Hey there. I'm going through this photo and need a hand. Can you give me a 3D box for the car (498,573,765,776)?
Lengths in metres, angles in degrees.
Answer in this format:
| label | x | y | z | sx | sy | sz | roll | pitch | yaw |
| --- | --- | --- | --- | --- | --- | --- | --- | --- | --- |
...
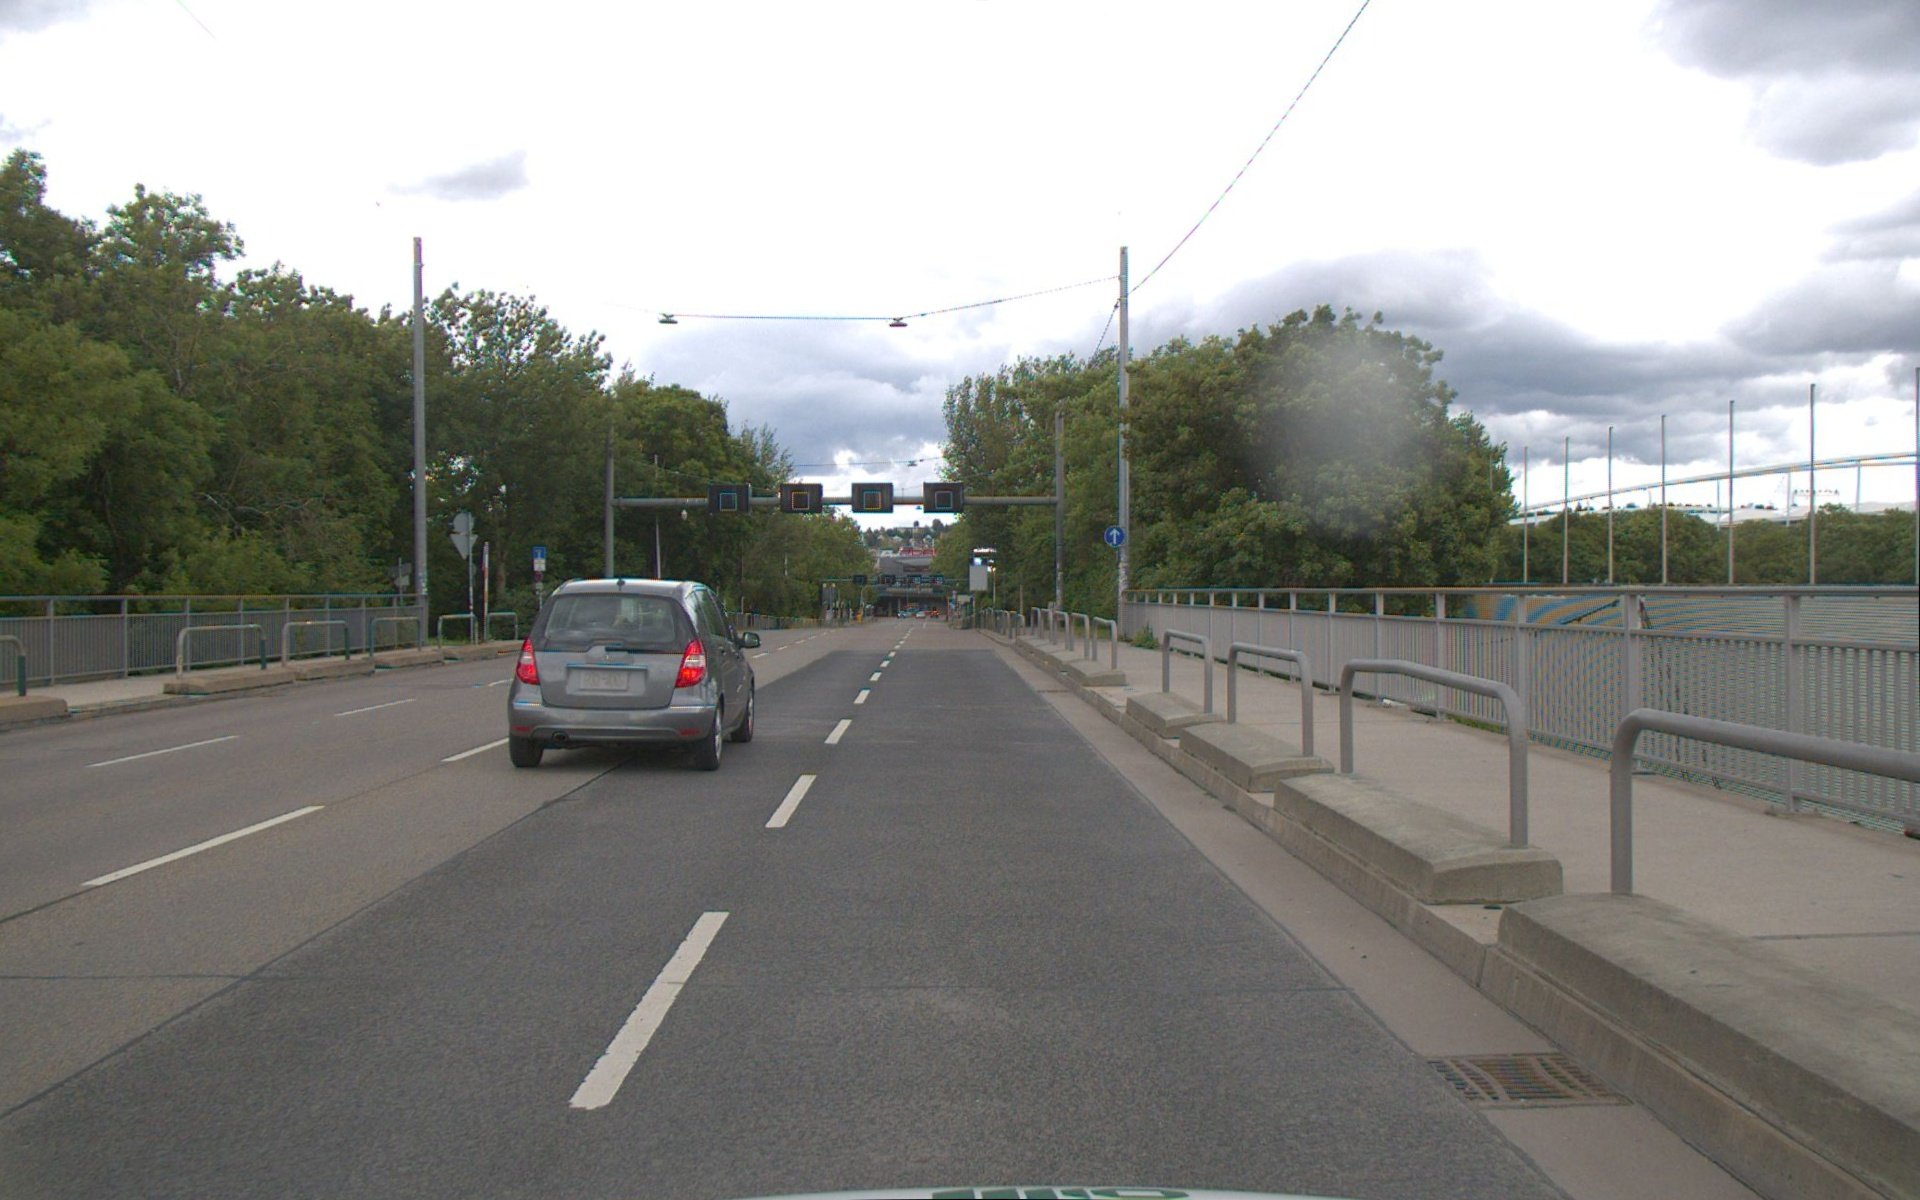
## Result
| label | x | y | z | sx | sy | sz | roll | pitch | yaw |
| --- | --- | --- | --- | --- | --- | --- | --- | --- | --- |
| car | -2.804 | 0.556 | 14.914 | 1.710 | 1.577 | 3.870 | 0 | 1 | -1 |
